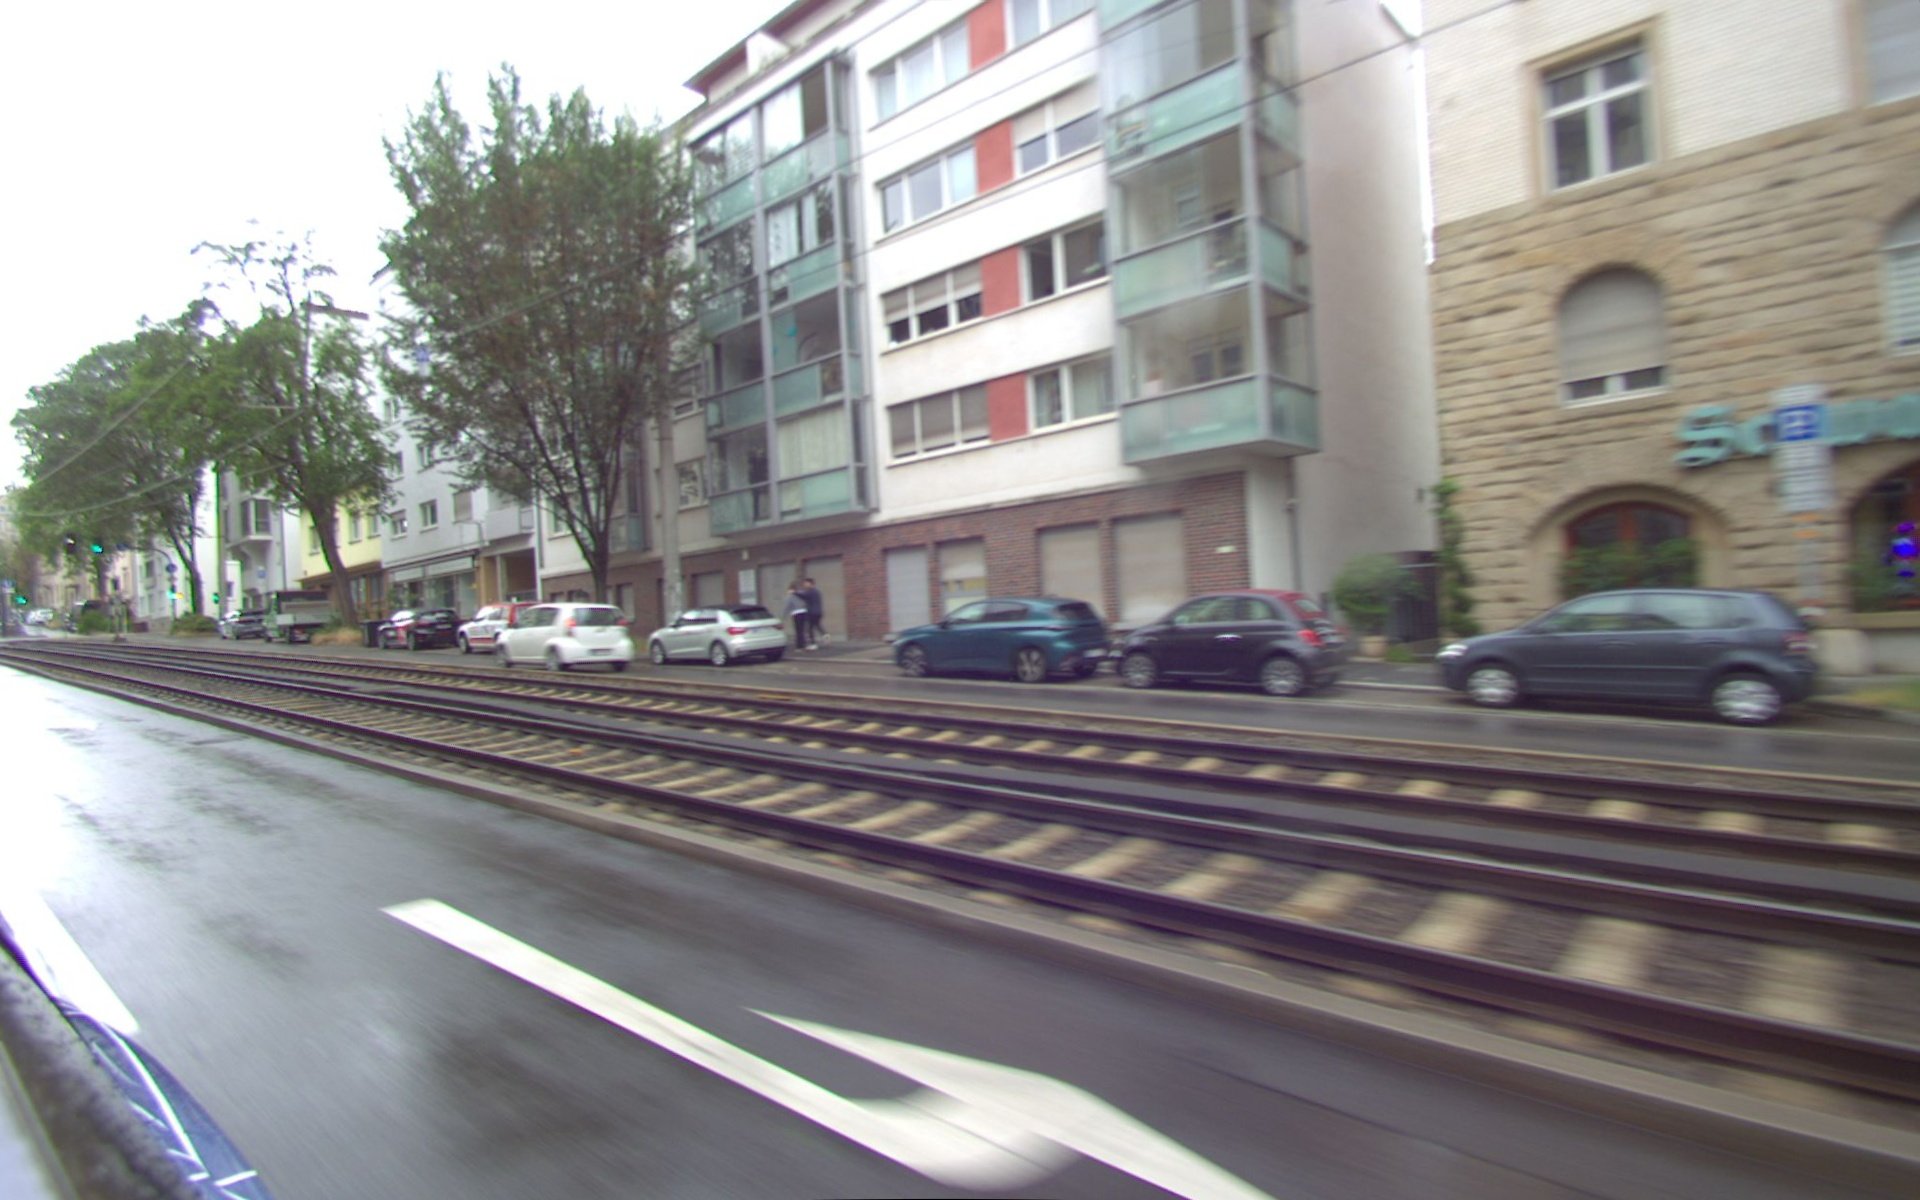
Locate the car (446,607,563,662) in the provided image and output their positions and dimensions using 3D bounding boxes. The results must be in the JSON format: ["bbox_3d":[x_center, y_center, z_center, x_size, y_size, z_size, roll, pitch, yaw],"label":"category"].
[{"bbox_3d":[-14.395,1.071,31.903,4.156,1.581,1.758,-1,0,41],"label":"car"}]

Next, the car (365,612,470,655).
[{"bbox_3d":[-19.739,1.189,36.743,4.467,1.451,1.886,-1,0,41],"label":"car"}]

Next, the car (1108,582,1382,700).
[{"bbox_3d":[4.226,0.571,15.228,3.523,1.509,1.789,-2,1,40],"label":"car"}]

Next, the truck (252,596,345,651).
[{"bbox_3d":[-30.278,1.002,46.234,6.354,2.363,2.168,0,0,44],"label":"truck"}]

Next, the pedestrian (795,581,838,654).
[{"bbox_3d":[-3.614,0.439,25.476,0.782,1.785,0.666,-1,0,42],"label":"pedestrian"}]

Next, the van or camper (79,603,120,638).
[{"bbox_3d":[-73.059,1.758,85.902,5.211,2.819,1.973,-2,0,42],"label":"van or camper"}]

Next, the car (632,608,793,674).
[{"bbox_3d":[-6.011,0.943,24.335,4.129,1.345,1.684,-1,2,42],"label":"car"}]

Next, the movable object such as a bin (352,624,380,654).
[{"bbox_3d":[-22.742,1.487,38.721,0.670,1.130,0.718,-2,-1,36],"label":"movable object such as a bin"}]

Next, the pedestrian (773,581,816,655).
[{"bbox_3d":[-4.083,0.445,24.953,0.782,1.785,0.666,-1,0,42],"label":"pedestrian"}]

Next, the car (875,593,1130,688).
[{"bbox_3d":[0.673,0.700,18.276,4.428,1.465,1.782,-2,1,41],"label":"car"}]

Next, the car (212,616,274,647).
[{"bbox_3d":[-37.570,1.655,53.017,4.359,1.471,1.687,-1,1,42],"label":"car"}]

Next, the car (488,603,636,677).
[{"bbox_3d":[-8.954,0.857,22.651,3.579,1.493,1.610,-1,0,41],"label":"car"}]

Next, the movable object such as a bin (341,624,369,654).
[{"bbox_3d":[-23.354,1.495,39.075,0.670,1.130,0.718,-2,-1,36],"label":"movable object such as a bin"}]

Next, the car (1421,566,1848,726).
[{"bbox_3d":[7.786,0.476,11.924,3.897,1.564,1.745,-2,0,45],"label":"car"}]
